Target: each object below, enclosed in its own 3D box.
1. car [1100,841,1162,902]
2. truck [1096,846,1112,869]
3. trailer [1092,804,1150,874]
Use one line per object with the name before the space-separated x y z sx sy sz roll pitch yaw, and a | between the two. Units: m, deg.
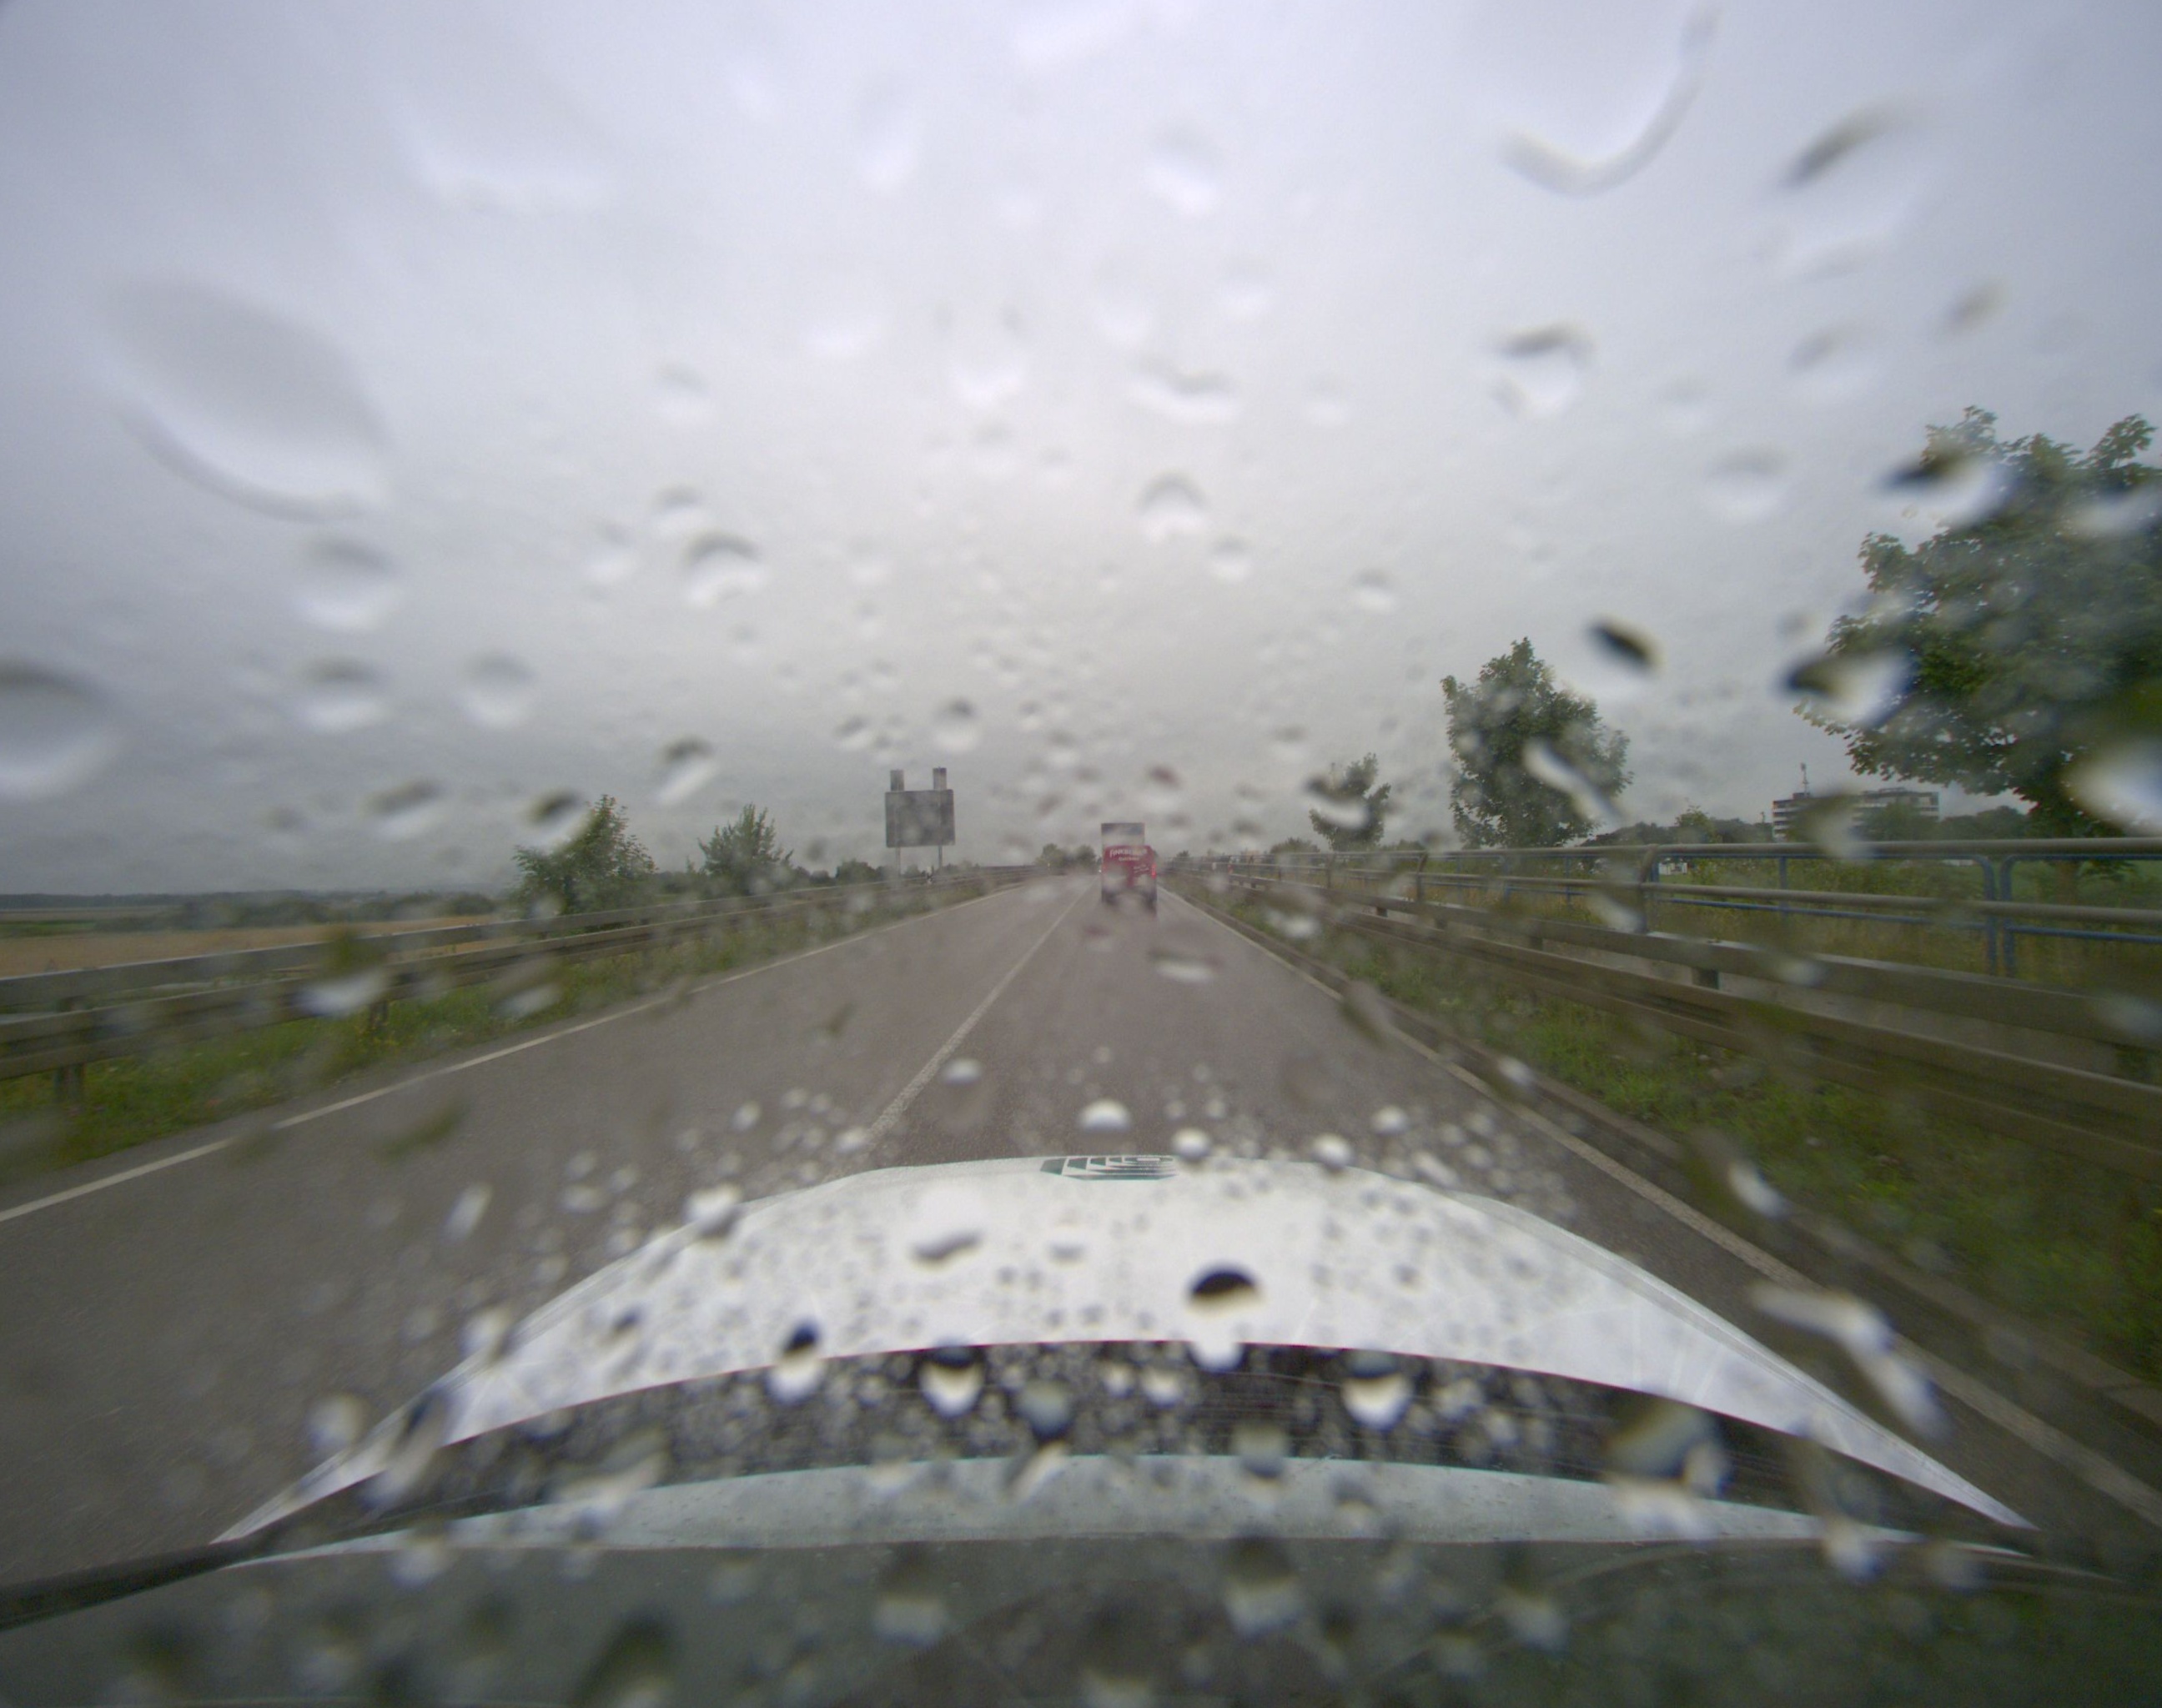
car | 1.670 0.555 28.272 1.986 1.925 4.145 -1 0 2
truck | 4.198 0.689 146.829 2.807 3.970 8.766 -1 -1 2
trailer | 2.587 -0.772 50.826 3.187 3.922 8.748 1 -1 4
